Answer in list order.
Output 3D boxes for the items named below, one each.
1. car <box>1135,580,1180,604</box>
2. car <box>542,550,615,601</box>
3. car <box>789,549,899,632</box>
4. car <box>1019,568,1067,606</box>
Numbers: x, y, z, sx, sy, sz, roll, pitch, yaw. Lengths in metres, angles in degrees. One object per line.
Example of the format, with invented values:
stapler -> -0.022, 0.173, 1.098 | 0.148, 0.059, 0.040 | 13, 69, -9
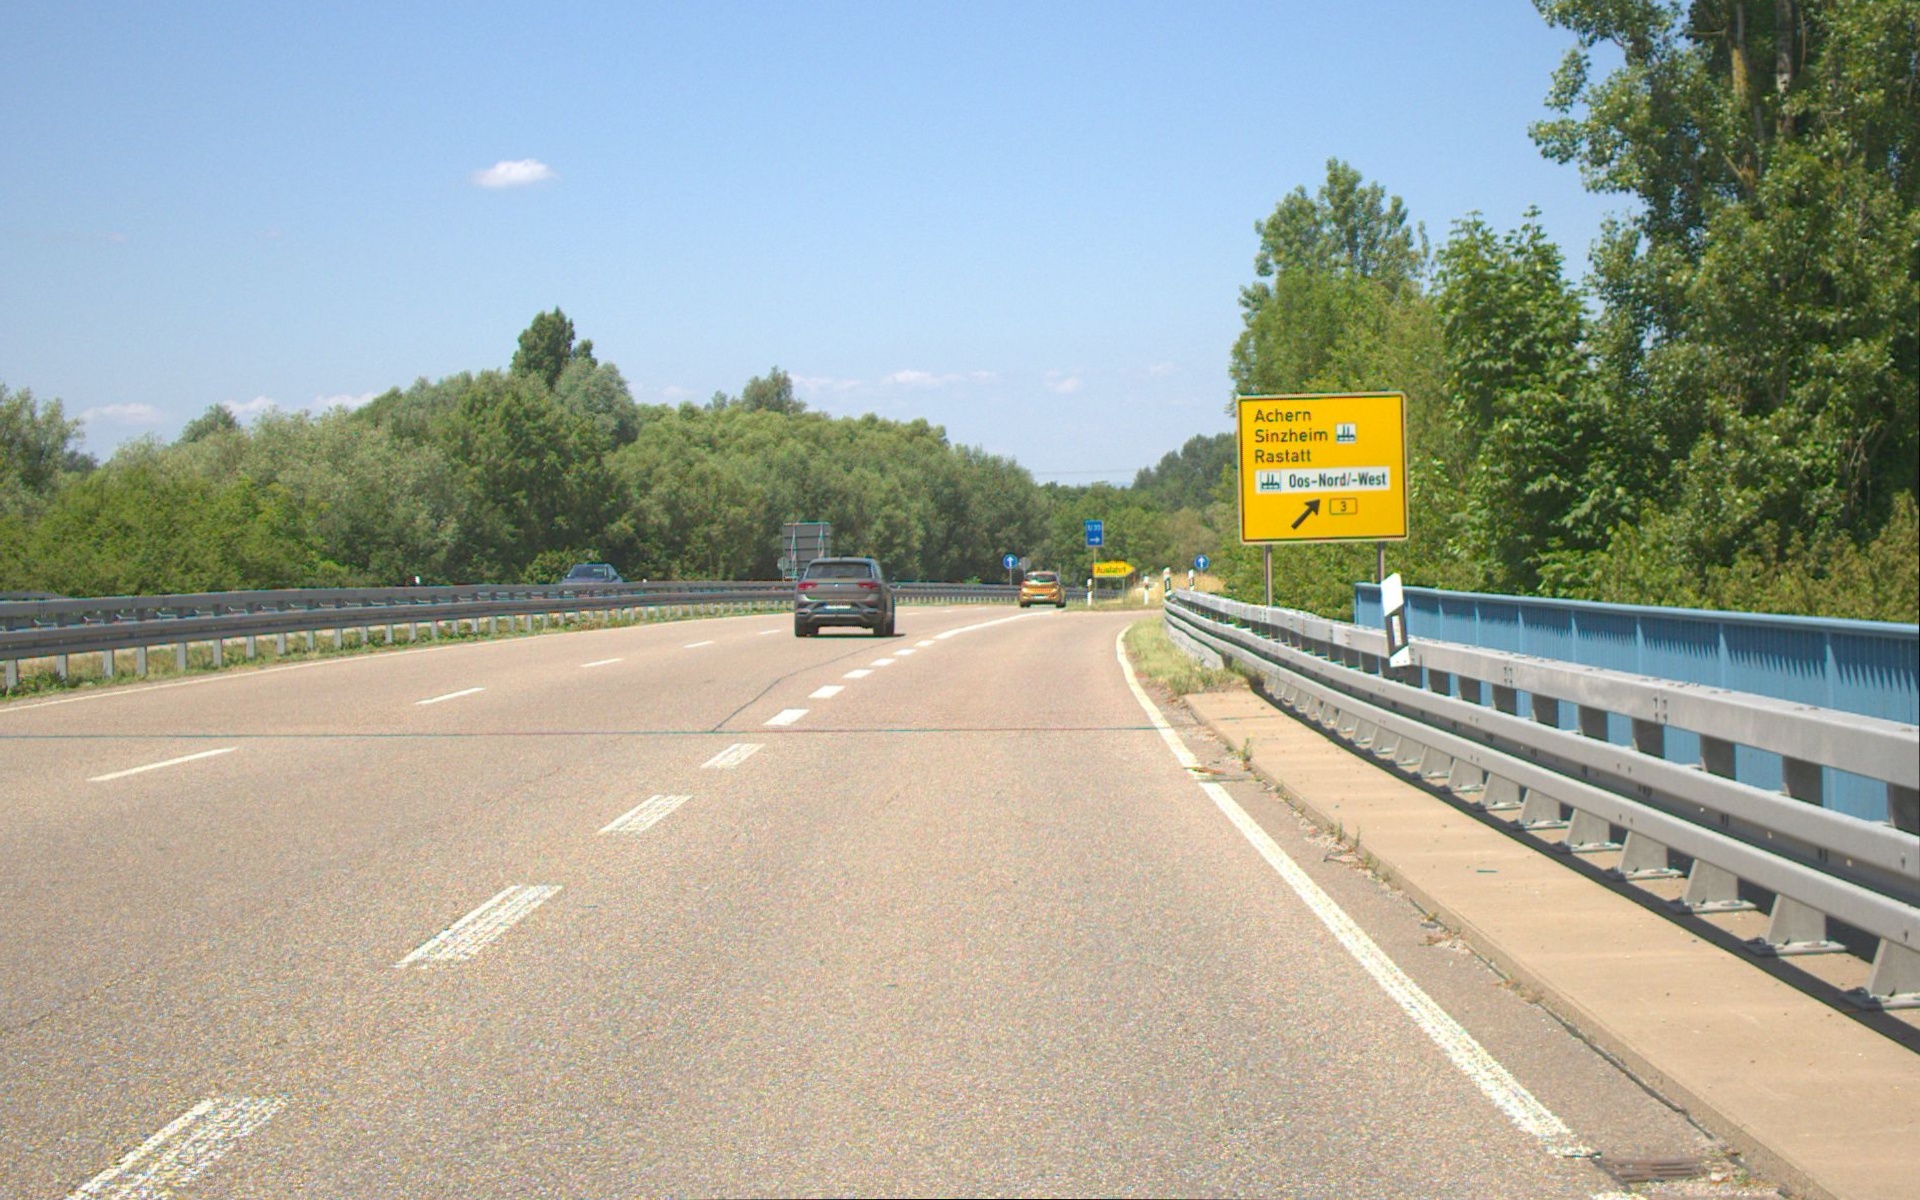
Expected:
car -> 12.682, -0.510, 220.642 | 1.843, 1.446, 3.996 | 1, 2, 19
car -> -12.785, -0.823, 115.503 | 1.825, 1.642, 4.189 | 0, 0, 2
car -> -2.273, -0.213, 68.439 | 1.841, 1.524, 4.470 | 1, 1, 2
car -> 3.405, -0.557, 140.977 | 1.841, 1.459, 4.000 | 1, 1, 3
